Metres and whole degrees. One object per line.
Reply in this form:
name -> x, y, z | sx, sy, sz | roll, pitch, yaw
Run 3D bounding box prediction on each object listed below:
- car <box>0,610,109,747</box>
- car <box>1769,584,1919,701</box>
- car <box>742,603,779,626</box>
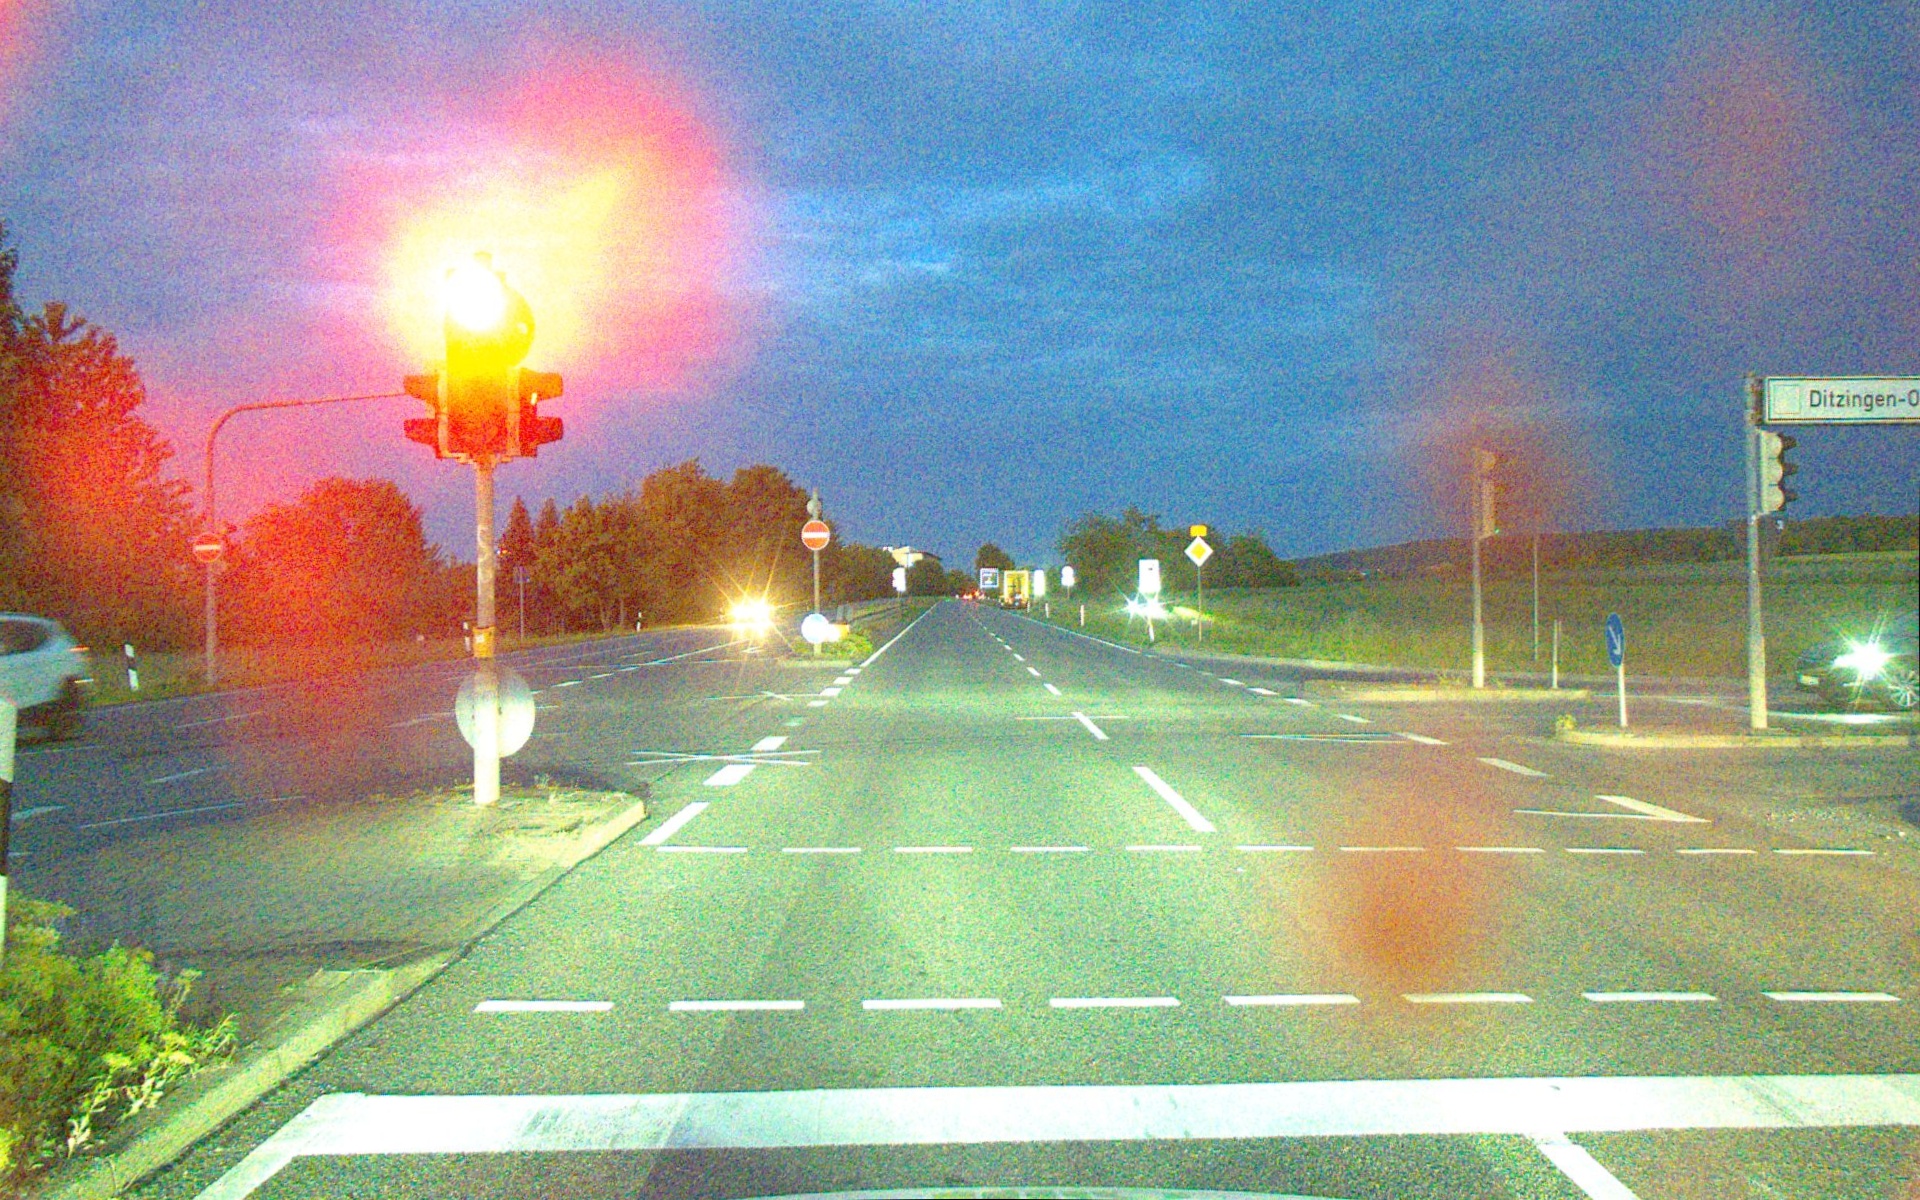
car -> -11.965, 0.922, 19.233 | 1.953, 1.545, 4.297 | -1, 0, -1
car -> 14.281, 0.537, 23.560 | 4.507, 1.547, 2.000 | -1, 0, 0
car -> -12.687, 0.895, 105.470 | 1.953, 1.411, 3.999 | -1, 0, -1
